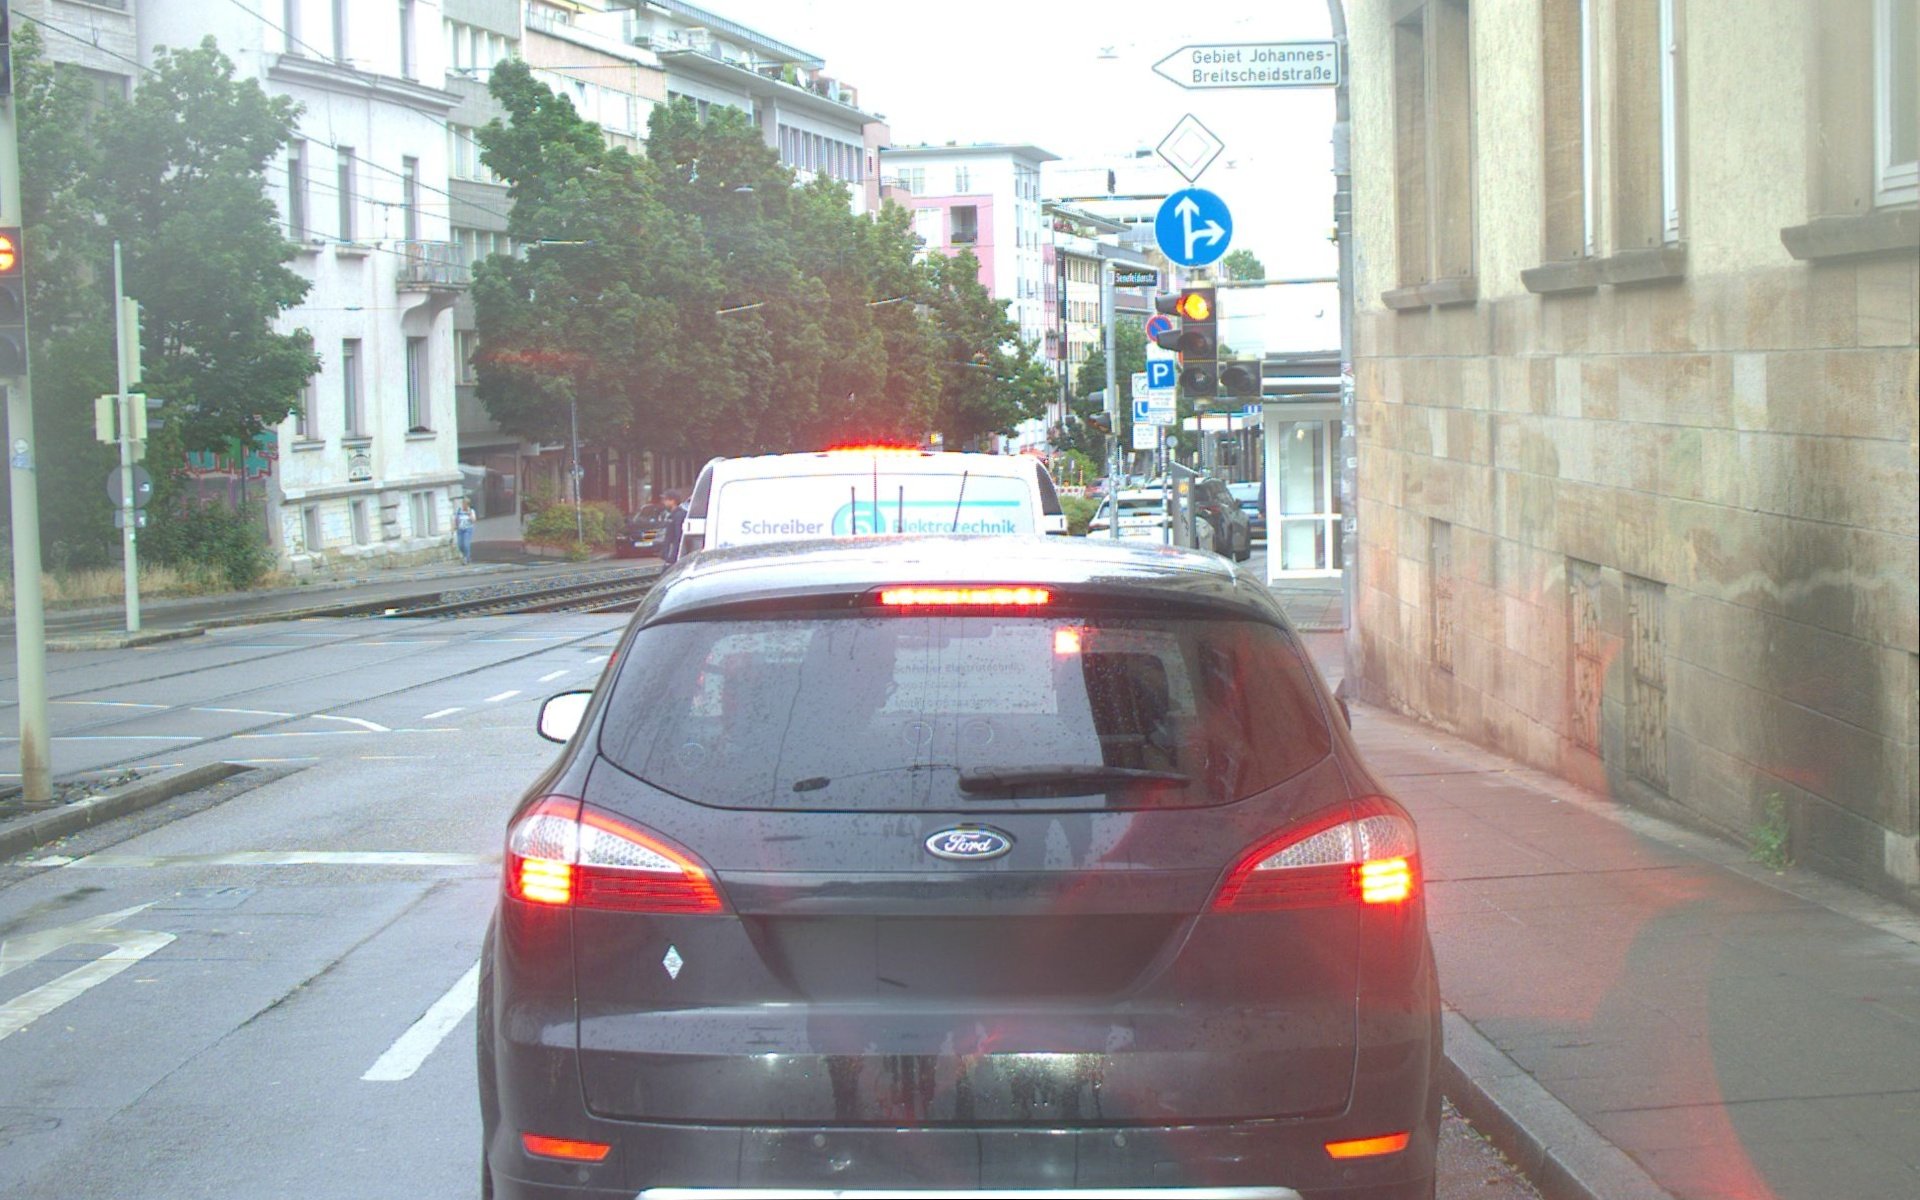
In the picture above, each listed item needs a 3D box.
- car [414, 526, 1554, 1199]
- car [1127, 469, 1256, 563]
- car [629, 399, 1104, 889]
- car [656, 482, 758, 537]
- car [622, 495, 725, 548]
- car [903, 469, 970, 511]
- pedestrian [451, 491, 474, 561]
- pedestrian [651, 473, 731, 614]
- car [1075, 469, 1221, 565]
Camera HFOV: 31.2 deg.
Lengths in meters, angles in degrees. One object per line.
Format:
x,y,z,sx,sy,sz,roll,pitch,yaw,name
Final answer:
0.010,0.610,7.591,1.842,1.502,4.000,1,1,-1,car
4.275,-1.529,62.942,1.846,1.627,4.585,-1,1,10,car
-0.455,0.152,16.832,1.988,2.053,4.645,1,1,-2,car
-7.327,-2.607,100.083,1.856,1.543,4.719,0,1,10,car
-7.810,-2.130,94.116,1.694,1.373,4.719,0,1,10,car
-0.944,-4.465,139.931,1.856,1.631,4.933,0,1,10,car
-11.884,-1.762,82.106,0.467,1.646,0.582,1,1,-2,pedestrian
-3.545,-0.743,45.399,0.930,1.823,0.959,1,1,2,pedestrian
3.128,-1.354,56.363,1.802,1.450,4.585,-2,1,10,car
